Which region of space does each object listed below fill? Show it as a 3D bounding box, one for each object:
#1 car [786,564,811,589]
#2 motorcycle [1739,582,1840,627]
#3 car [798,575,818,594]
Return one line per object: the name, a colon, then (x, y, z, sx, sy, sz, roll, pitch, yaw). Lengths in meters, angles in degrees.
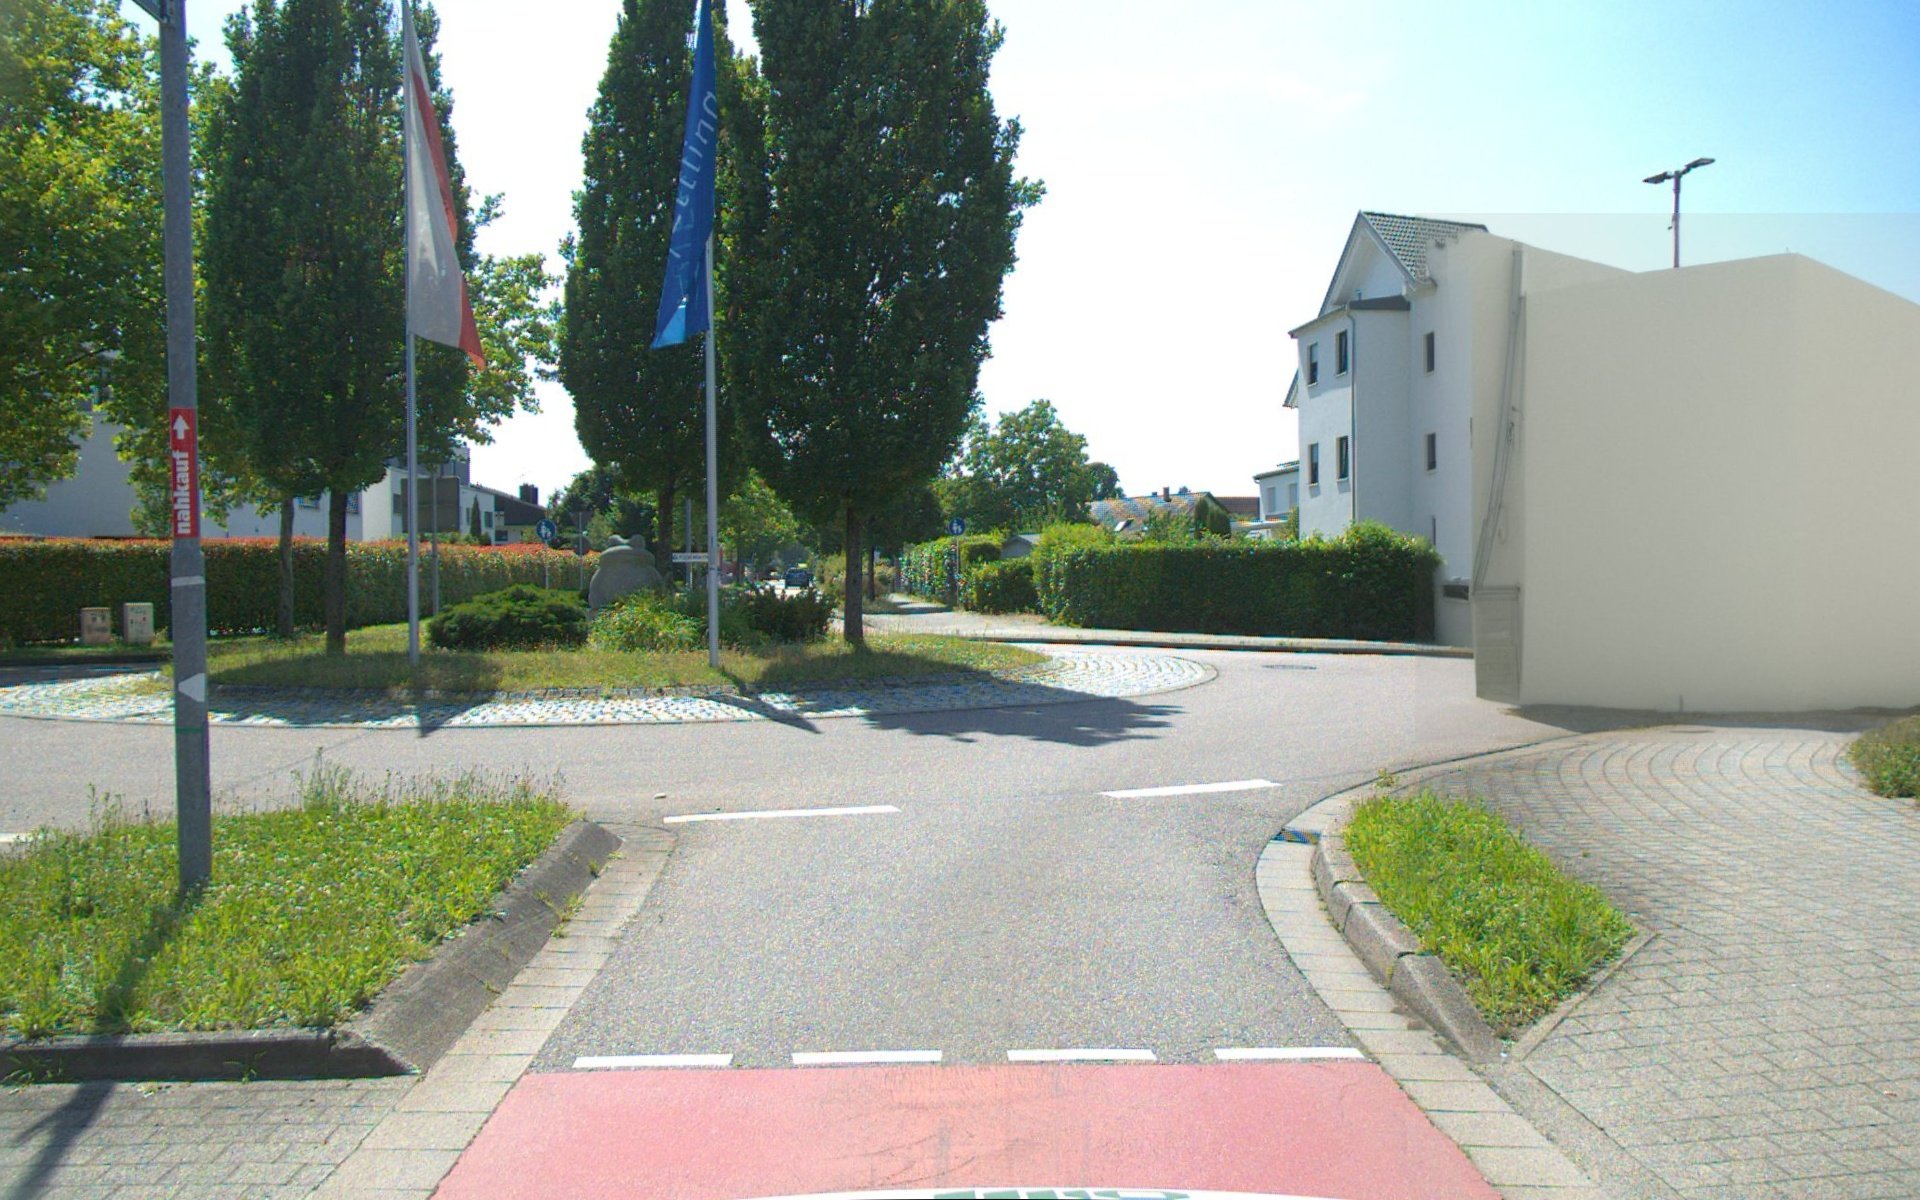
car: (-12.716, -1.804, 130.204, 1.886, 1.919, 3.995, 1, 0, -6)
motorcycle: (20.316, 0.097, 40.583, 0.660, 1.031, 2.353, 1, 0, -22)
car: (-14.932, -1.501, 162.790, 1.954, 1.801, 3.996, 1, 0, -5)
